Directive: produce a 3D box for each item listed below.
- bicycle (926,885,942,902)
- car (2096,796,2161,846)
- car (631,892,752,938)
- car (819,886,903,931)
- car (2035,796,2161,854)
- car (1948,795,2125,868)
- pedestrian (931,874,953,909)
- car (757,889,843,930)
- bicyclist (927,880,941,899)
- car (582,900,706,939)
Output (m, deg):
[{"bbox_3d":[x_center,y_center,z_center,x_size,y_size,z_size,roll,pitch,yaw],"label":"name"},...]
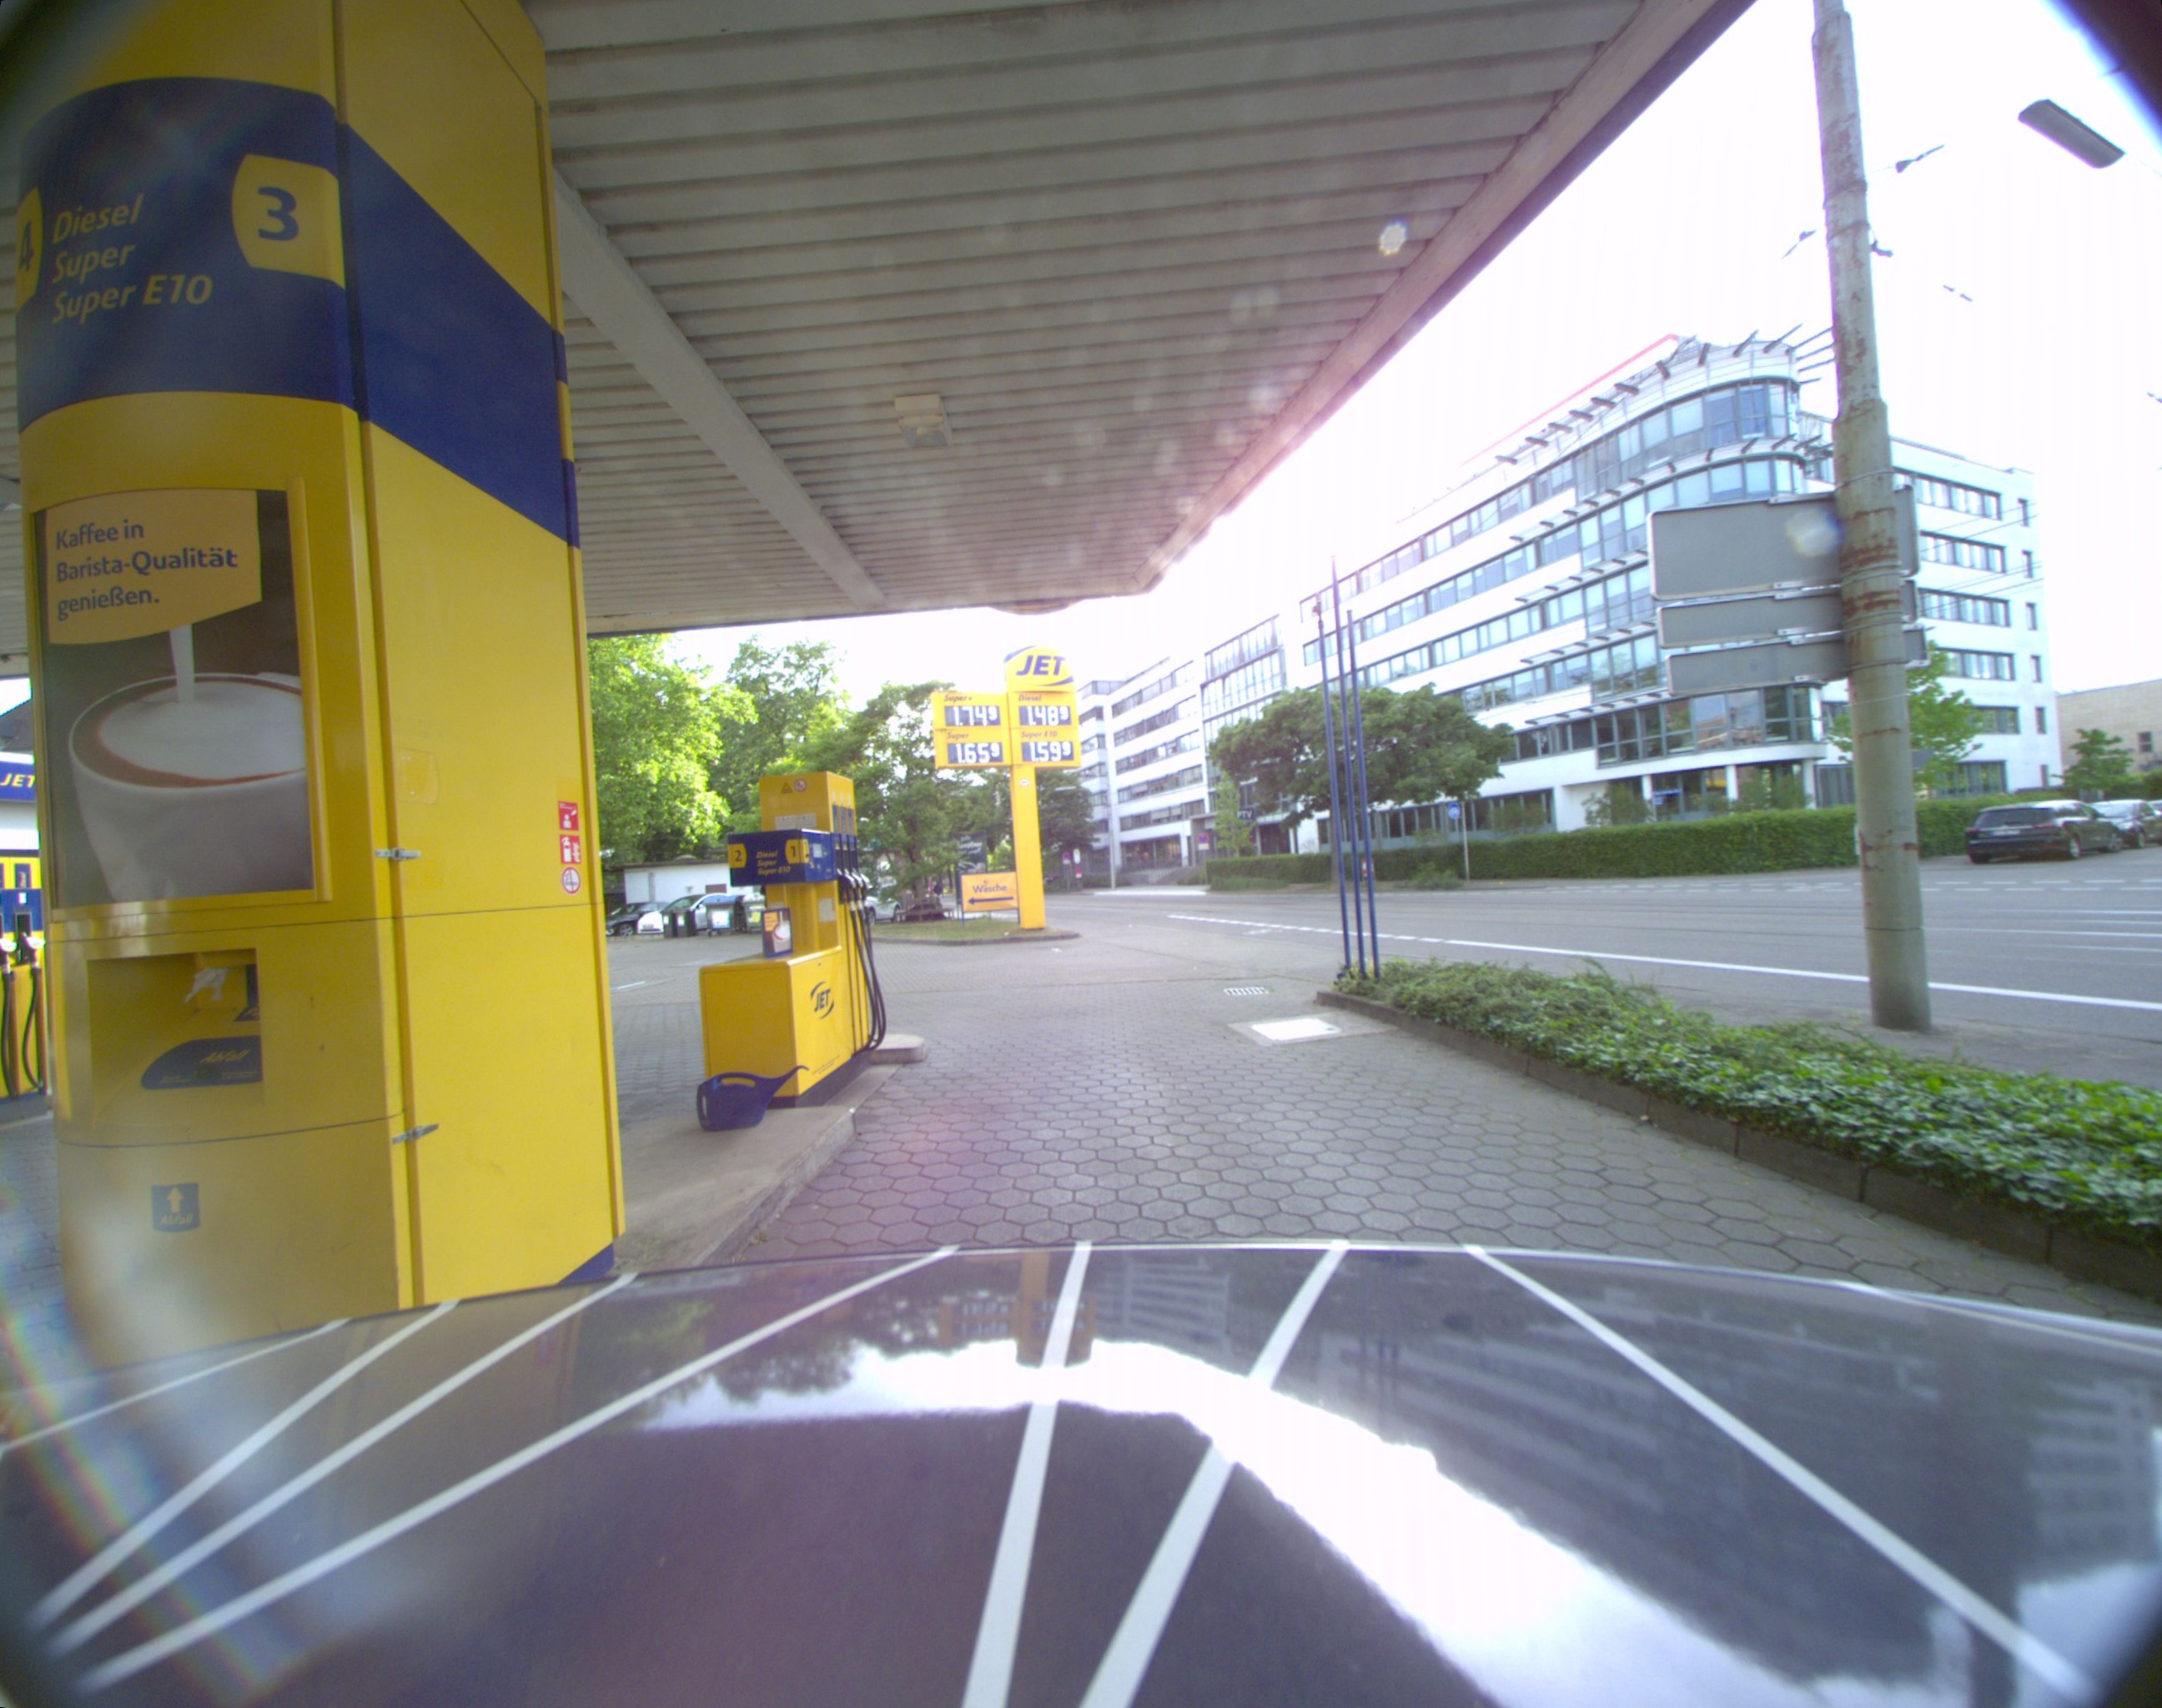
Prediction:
[{"bbox_3d":[-11.386,3.055,58.882,0.736,1.250,1.936,-5,-1,-23],"label":"bicycle"},{"bbox_3d":[37.147,-1.227,26.082,4.109,1.544,1.786,-4,-1,-23],"label":"car"},{"bbox_3d":[-15.364,2.382,30.258,1.785,1.514,4.229,-4,-3,17],"label":"car"},{"bbox_3d":[-8.691,2.116,30.384,1.739,1.500,4.003,-4,-2,6],"label":"car"},{"bbox_3d":[32.488,-0.934,24.044,4.109,1.544,1.786,-4,-1,-23],"label":"car"},{"bbox_3d":[27.372,-0.643,21.773,4.438,1.603,1.976,-5,-1,-23],"label":"car"},{"bbox_3d":[-8.272,2.223,45.204,0.934,2.001,1.214,-2,-1,-24],"label":"pedestrian"},{"bbox_3d":[-11.806,2.321,32.246,1.739,1.500,4.004,-4,-2,6],"label":"car"},{"bbox_3d":[-11.384,2.752,58.838,0.736,1.451,0.915,-5,0,-23],"label":"bicyclist"},{"bbox_3d":[-17.750,2.629,31.074,1.745,1.269,4.230,-5,-3,19],"label":"car"}]
